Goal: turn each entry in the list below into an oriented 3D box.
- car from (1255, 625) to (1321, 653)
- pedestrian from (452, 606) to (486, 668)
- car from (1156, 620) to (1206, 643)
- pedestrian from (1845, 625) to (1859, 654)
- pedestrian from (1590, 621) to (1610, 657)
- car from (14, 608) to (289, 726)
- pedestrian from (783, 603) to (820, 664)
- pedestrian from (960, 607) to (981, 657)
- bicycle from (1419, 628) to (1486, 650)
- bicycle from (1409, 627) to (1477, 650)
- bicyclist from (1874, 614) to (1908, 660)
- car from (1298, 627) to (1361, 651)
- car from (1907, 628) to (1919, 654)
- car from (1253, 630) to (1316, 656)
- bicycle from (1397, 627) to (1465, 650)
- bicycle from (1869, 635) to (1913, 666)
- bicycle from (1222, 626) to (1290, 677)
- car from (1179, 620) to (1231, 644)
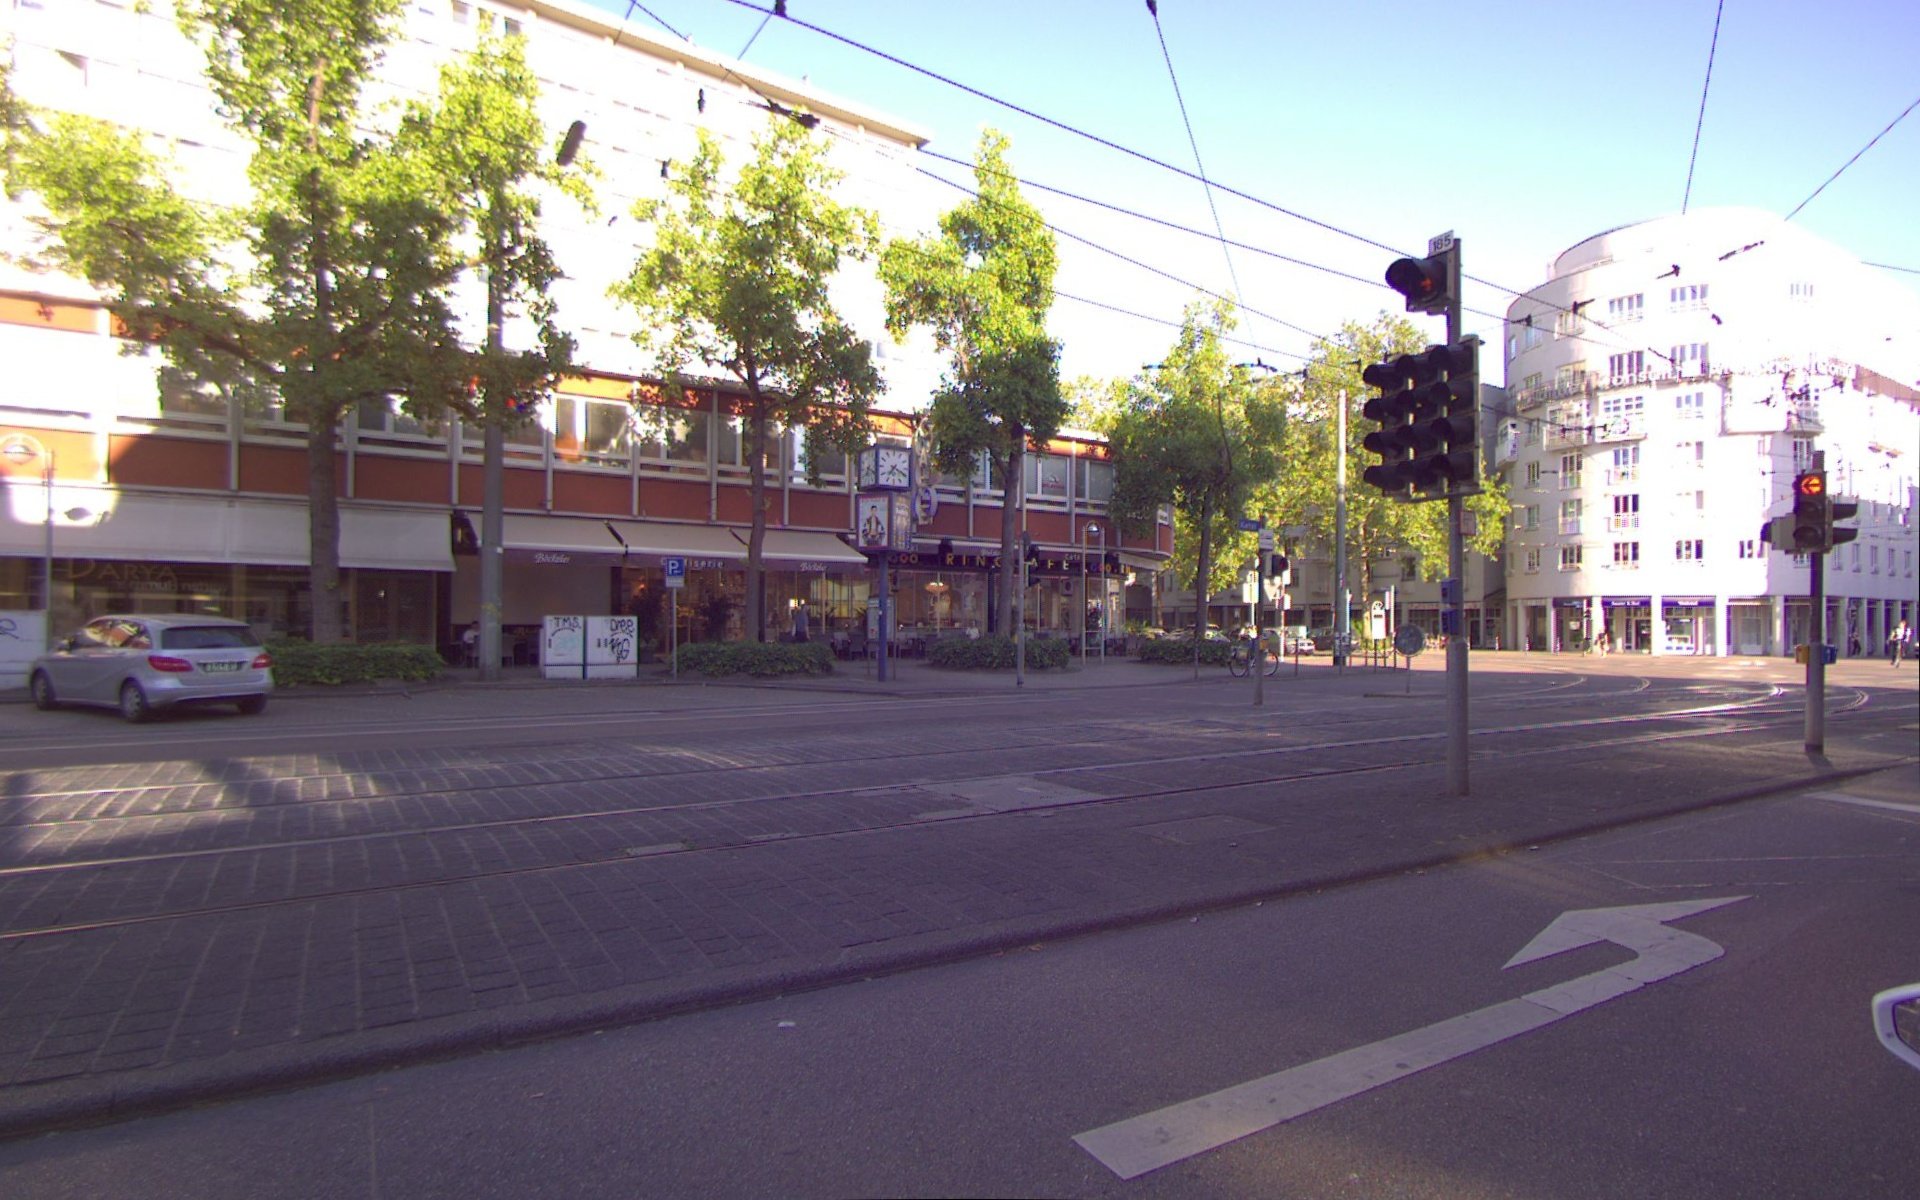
[{"bbox_3d":[19.258,2.285,59.163,1.605,1.579,4.001,0,-2,-19],"label":"car"},{"bbox_3d":[-12.814,0.948,26.205,0.699,1.584,0.867,1,-1,-33],"label":"pedestrian"},{"bbox_3d":[18.964,2.695,86.277,3.954,1.990,1.984,1,-1,-31],"label":"car"},{"bbox_3d":[52.170,2.292,58.742,0.482,1.704,0.519,1,-1,-40],"label":"pedestrian"},{"bbox_3d":[36.830,2.251,57.825,0.930,2.040,0.939,0,-1,30],"label":"pedestrian"},{"bbox_3d":[-12.962,0.985,16.087,4.200,1.587,1.825,1,-1,26],"label":"car"},{"bbox_3d":[-4.693,0.973,29.728,0.866,1.745,0.700,0,1,-34],"label":"pedestrian"},{"bbox_3d":[0.377,1.114,35.330,0.590,1.745,0.647,0,1,-14],"label":"pedestrian"},{"bbox_3d":[35.690,2.795,72.899,1.053,1.550,4.684,1,-2,-28],"label":"bicycle"},{"bbox_3d":[34.505,2.751,71.934,1.053,1.550,4.684,1,-2,-28],"label":"bicycle"},{"bbox_3d":[36.285,1.426,39.151,0.786,1.749,0.803,1,-1,-33],"label":"bicyclist"},{"bbox_3d":[24.690,2.596,67.278,1.595,1.551,3.972,0,-1,-27],"label":"car"},{"bbox_3d":[58.917,2.471,60.645,3.423,1.566,1.756,1,-2,-32],"label":"car"},{"bbox_3d":[17.393,2.297,54.050,1.738,1.312,4.014,0,-2,-7],"label":"car"},{"bbox_3d":[33.474,2.737,71.470,1.053,1.550,4.684,1,-2,-28],"label":"bicycle"},{"bbox_3d":[36.277,1.939,39.138,2.027,1.162,0.803,1,-1,-33],"label":"bicycle"},{"bbox_3d":[8.220,1.421,27.899,1.884,1.345,0.667,1,2,-30],"label":"bicycle"},{"bbox_3d":[20.445,2.659,83.766,3.954,1.990,1.984,1,-1,-31],"label":"car"}]
